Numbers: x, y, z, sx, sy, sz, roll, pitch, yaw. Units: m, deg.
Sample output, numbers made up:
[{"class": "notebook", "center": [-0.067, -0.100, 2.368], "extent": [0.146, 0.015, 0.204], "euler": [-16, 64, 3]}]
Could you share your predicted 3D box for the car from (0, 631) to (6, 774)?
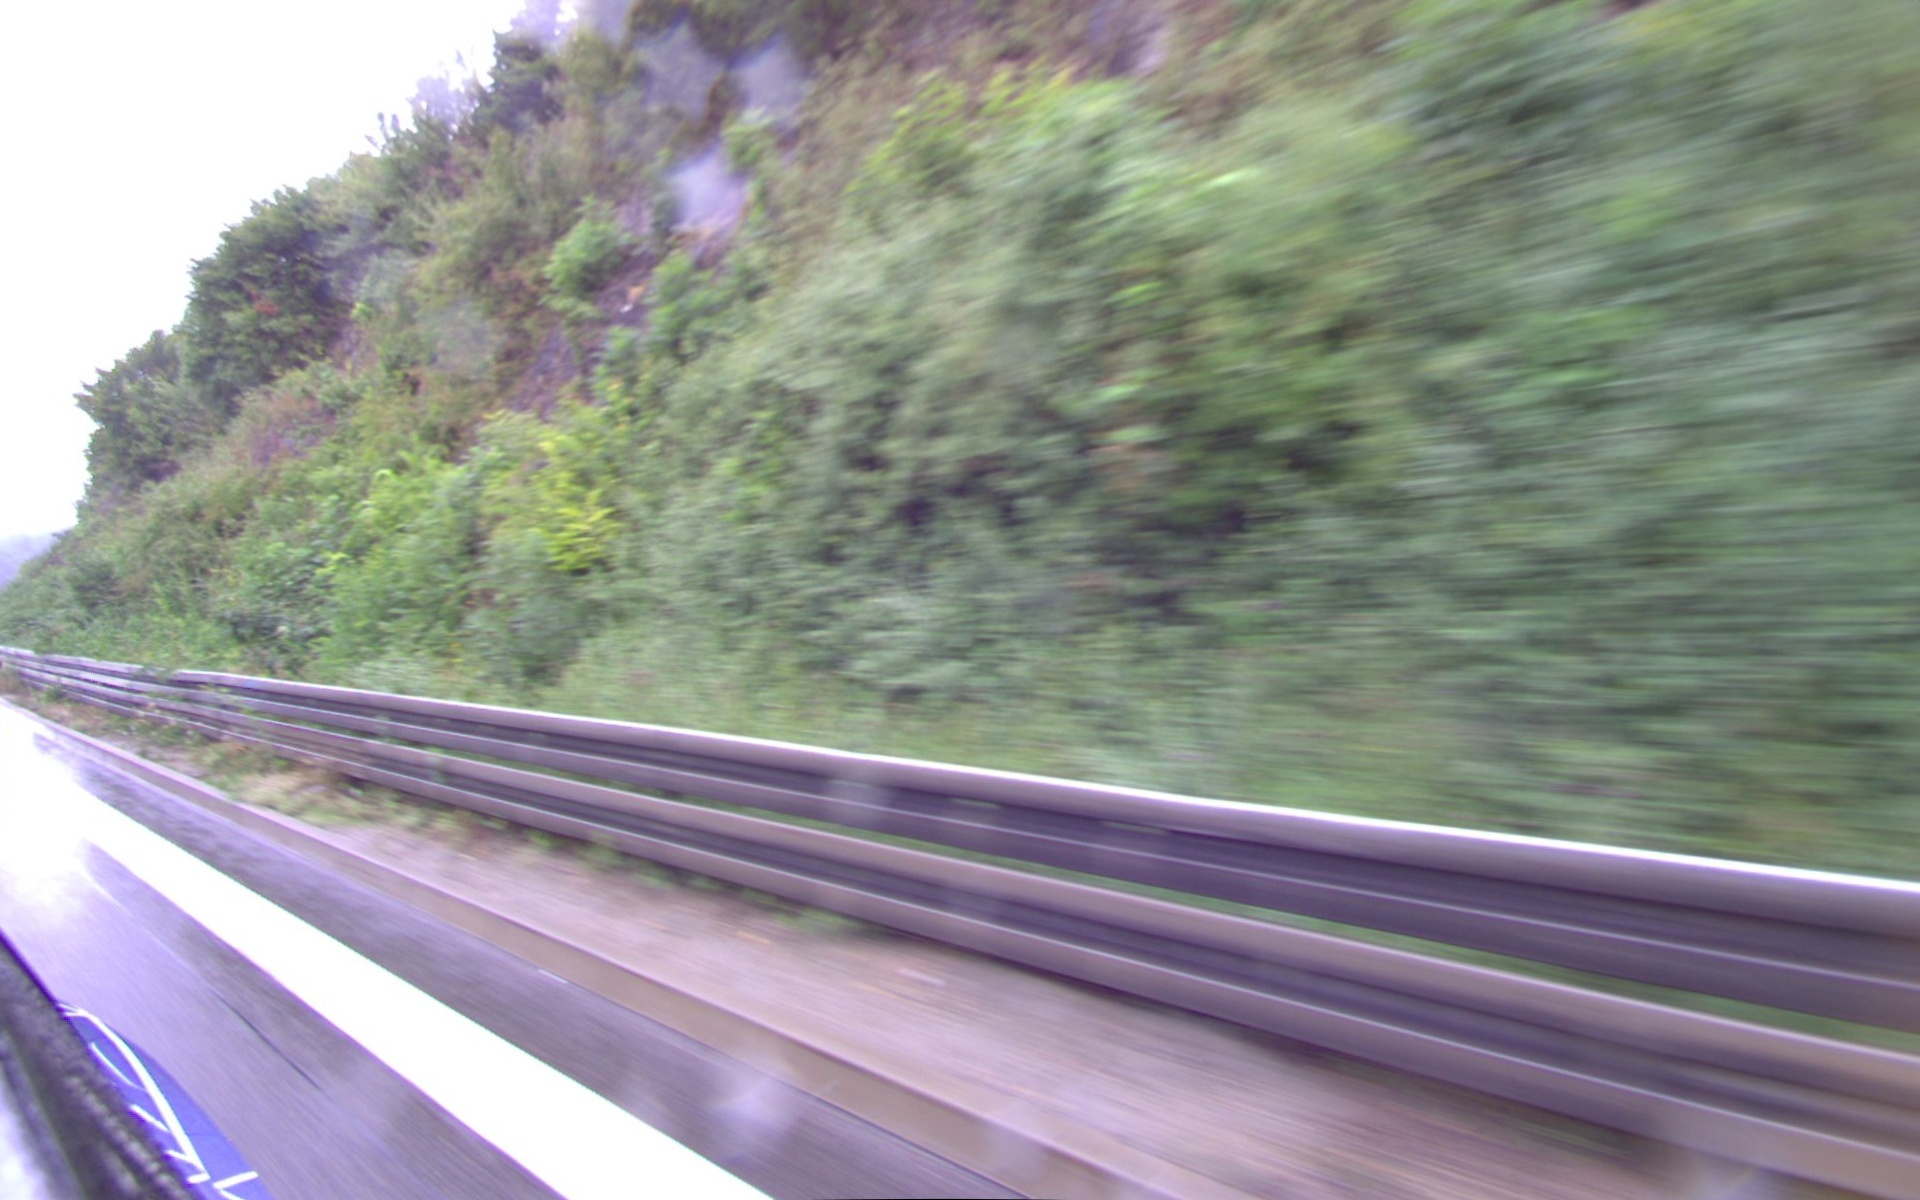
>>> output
[{"class": "car", "center": [-11.085, 0.994, 10.137], "extent": [4.132, 1.334, 1.816], "euler": [-1, -1, 41]}]
